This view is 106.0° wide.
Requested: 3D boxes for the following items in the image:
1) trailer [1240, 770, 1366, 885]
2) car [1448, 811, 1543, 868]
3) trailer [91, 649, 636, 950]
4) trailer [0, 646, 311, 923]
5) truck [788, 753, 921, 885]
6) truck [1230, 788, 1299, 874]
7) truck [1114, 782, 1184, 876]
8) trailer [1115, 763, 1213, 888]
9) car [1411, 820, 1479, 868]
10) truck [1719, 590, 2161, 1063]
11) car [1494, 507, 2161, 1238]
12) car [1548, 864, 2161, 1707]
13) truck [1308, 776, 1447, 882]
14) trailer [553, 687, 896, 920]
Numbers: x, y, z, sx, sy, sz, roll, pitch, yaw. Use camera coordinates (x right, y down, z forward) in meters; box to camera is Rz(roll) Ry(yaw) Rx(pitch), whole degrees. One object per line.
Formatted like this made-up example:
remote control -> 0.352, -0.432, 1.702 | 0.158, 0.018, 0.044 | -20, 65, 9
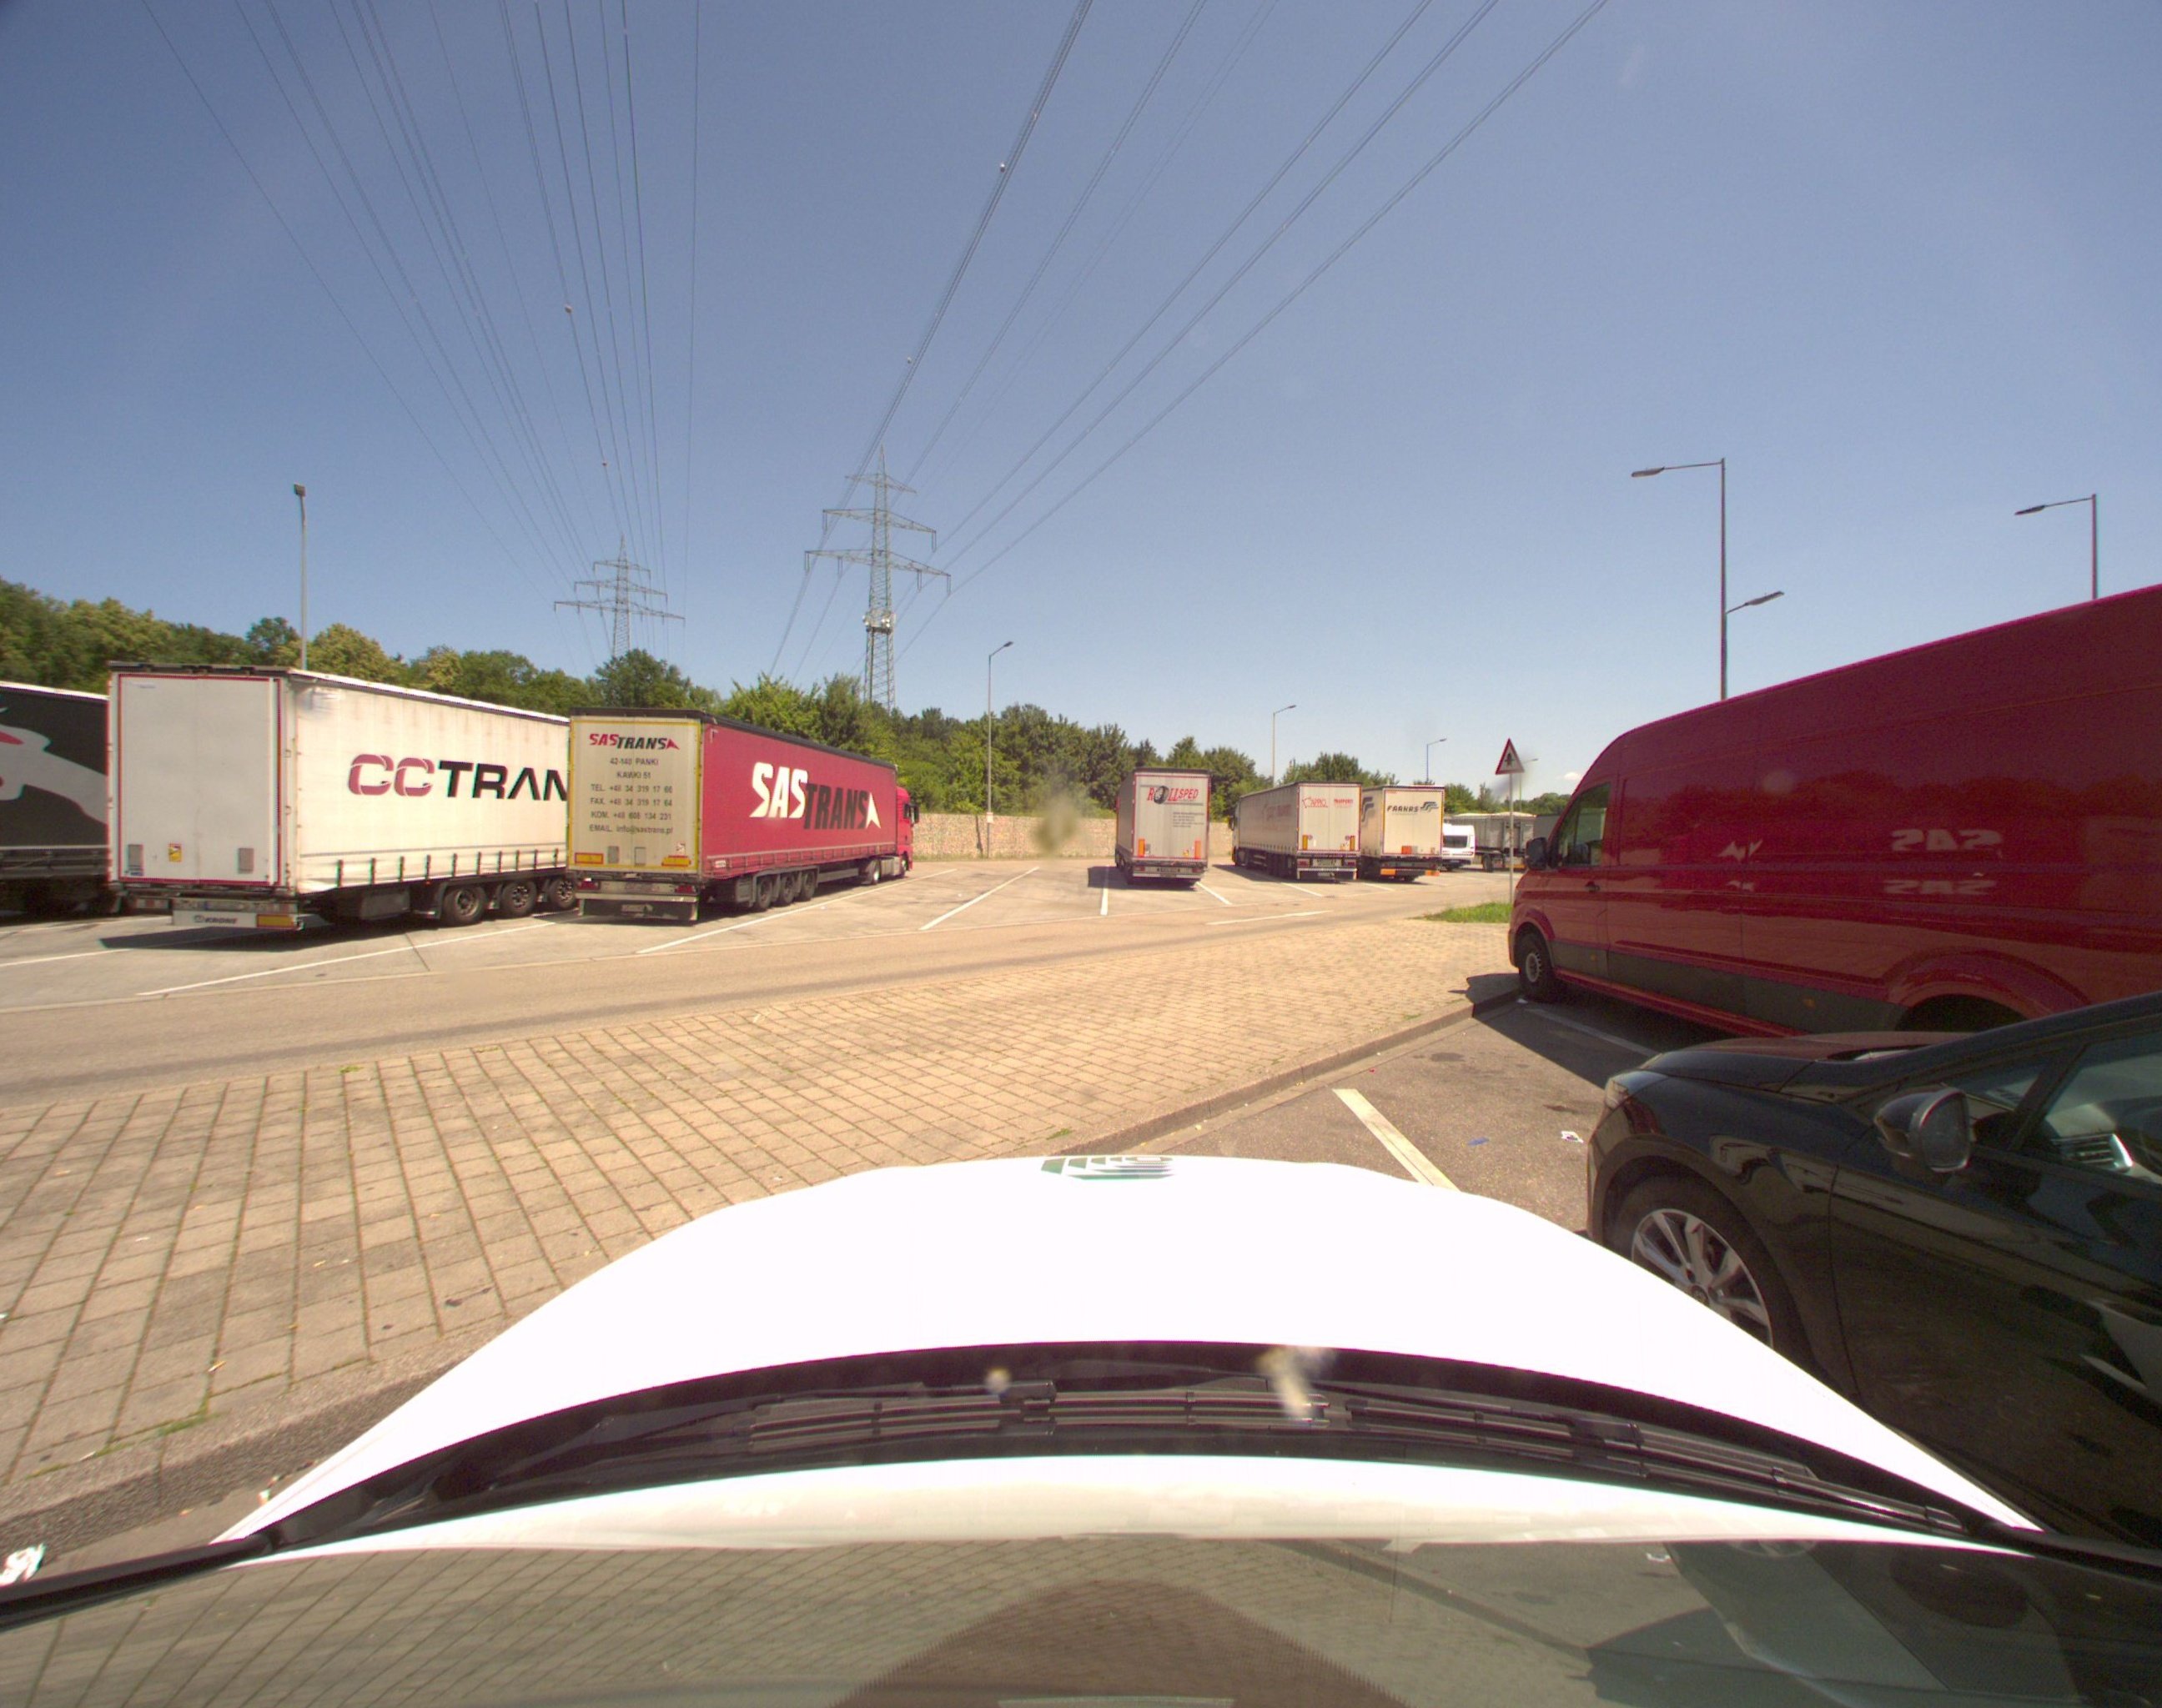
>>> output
trailer -> 9.905, -1.123, 38.148 | 2.672, 4.452, 12.833 | -1, 1, 1
car -> 24.137, -0.832, 47.750 | 2.490, 3.074, 6.353 | -1, 1, 2
trailer -> -12.195, -0.816, 15.415 | 2.744, 4.152, 8.291 | 0, 1, 2
trailer -> -18.556, -1.129, 15.011 | 2.668, 4.444, 6.151 | -1, 1, 2
truck -> -7.748, -1.144, 28.708 | 2.795, 4.133, 5.896 | -1, 1, 2
truck -> 10.082, -1.243, 45.286 | 2.651, 4.452, 5.866 | -1, 1, 2
truck -> 3.023, -1.096, 37.707 | 2.861, 3.980, 6.031 | 0, 1, 1
trailer -> 2.919, -1.009, 32.065 | 2.887, 4.013, 11.319 | -1, 1, 1
car -> 20.539, -0.528, 46.128 | 2.107, 2.599, 4.001 | 0, -1, 2
truck -> 7.799, -0.161, 6.055 | 2.508, 2.827, 4.821 | 0, -1, 3
car -> 5.139, 0.021, 5.522 | 1.984, 2.633, 6.393 | -1, 1, 5
car -> 2.534, 0.755, 0.924 | 1.772, 1.457, 3.682 | 0, -1, -3
truck -> 13.535, -0.950, 38.581 | 2.577, 4.226, 11.974 | 0, -1, 2
trailer -> -7.998, -1.005, 21.451 | 2.789, 4.219, 13.208 | -1, 1, 2
